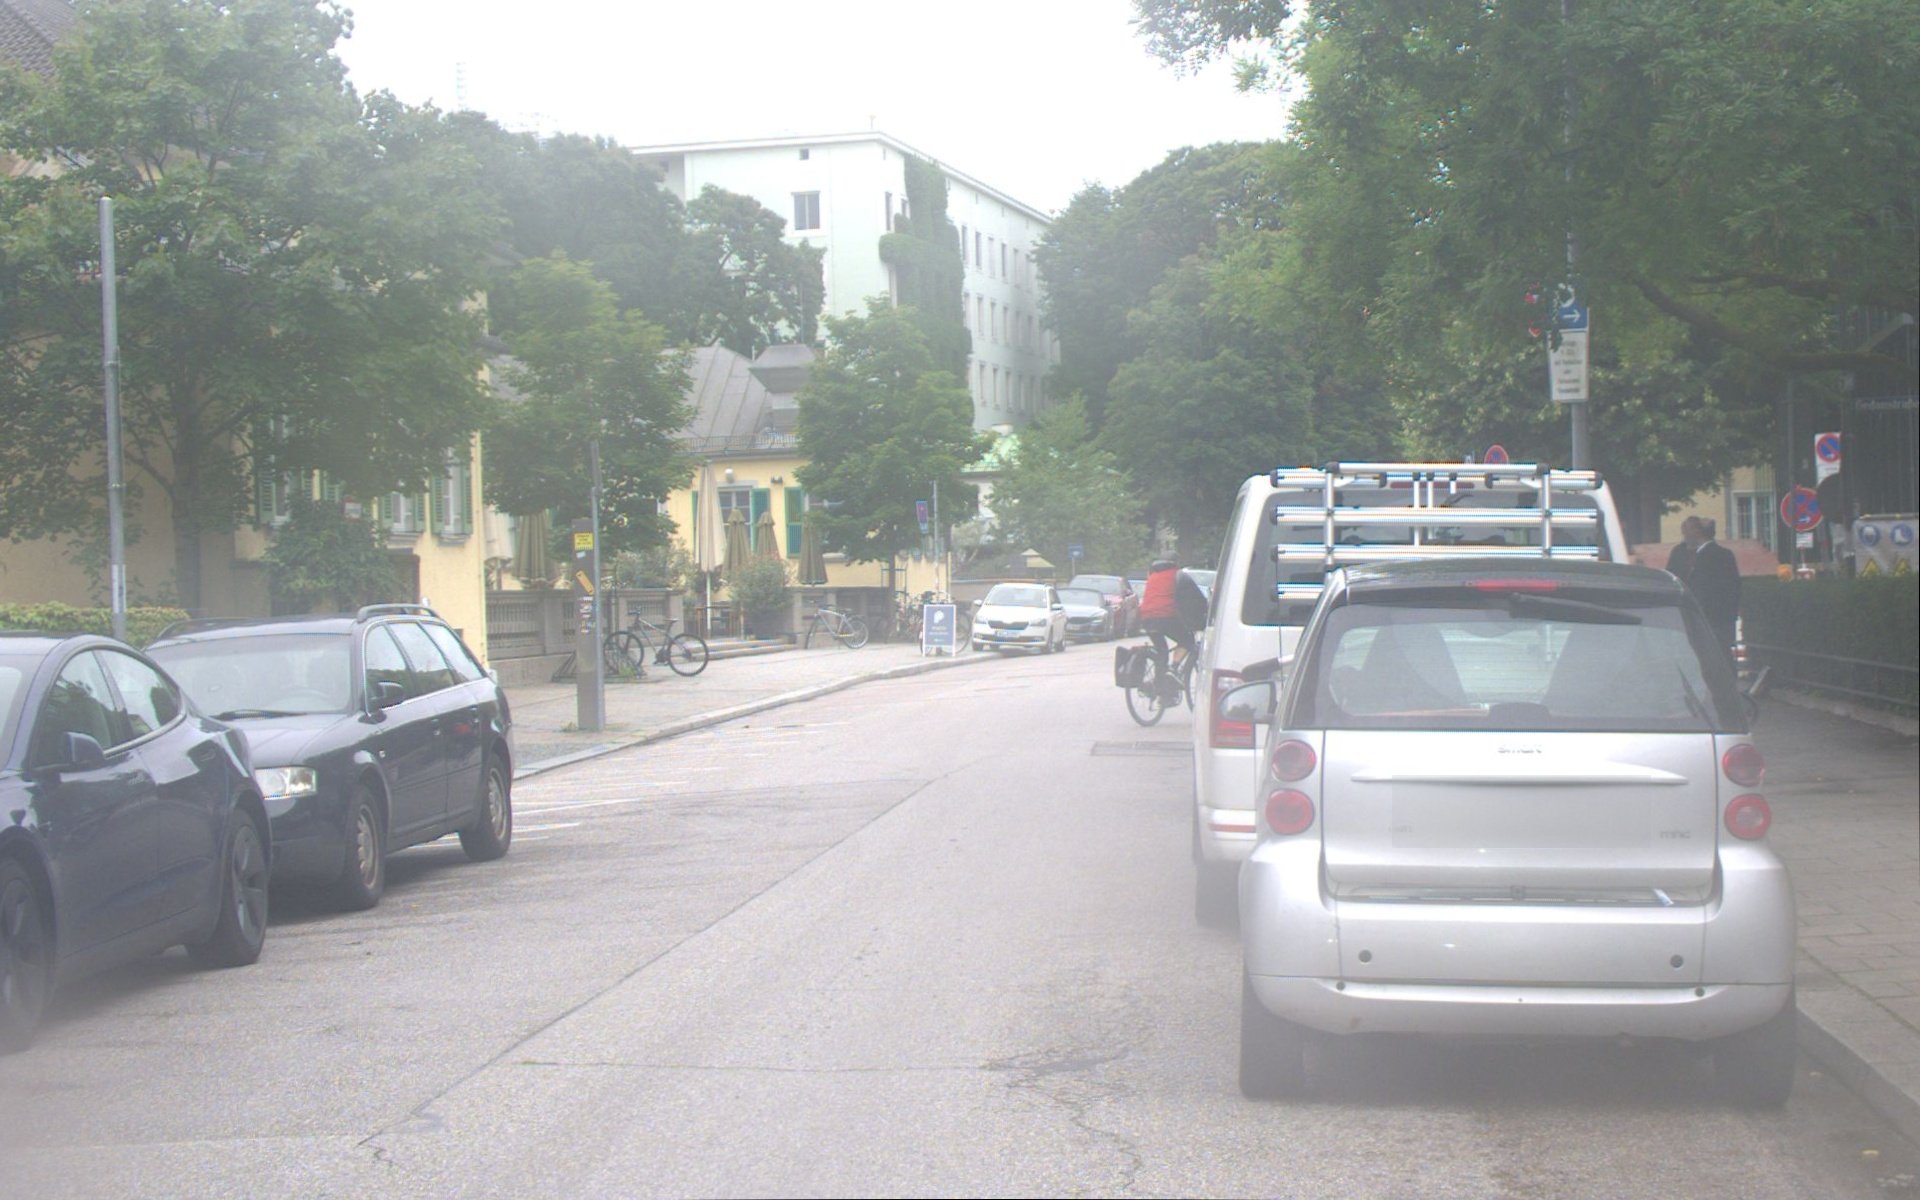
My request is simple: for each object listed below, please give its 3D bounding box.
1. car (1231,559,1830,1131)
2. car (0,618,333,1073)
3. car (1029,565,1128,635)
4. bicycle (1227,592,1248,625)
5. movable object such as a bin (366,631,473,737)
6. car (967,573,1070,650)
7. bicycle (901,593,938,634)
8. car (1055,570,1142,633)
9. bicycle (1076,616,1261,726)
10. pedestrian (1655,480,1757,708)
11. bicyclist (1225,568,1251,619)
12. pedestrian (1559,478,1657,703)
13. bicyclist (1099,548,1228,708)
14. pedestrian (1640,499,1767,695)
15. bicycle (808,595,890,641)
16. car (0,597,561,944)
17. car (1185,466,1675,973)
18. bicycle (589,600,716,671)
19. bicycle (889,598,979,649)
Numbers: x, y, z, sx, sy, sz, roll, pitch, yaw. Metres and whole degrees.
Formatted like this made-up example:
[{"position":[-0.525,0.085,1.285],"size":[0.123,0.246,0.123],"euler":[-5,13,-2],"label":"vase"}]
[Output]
[{"position":[1.683,0.648,10.851],"size":[1.606,1.541,2.933],"euler":[0,1,5],"label":"car"},{"position":[-3.960,0.856,13.049],"size":[1.923,1.434,4.917],"euler":[-4,0,3],"label":"car"},{"position":[3.020,-0.020,86.489],"size":[1.994,1.643,4.654],"euler":[-1,0,8],"label":"car"},{"position":[8.781,0.260,108.816],"size":[0.621,1.001,2.140],"euler":[-2,1,4],"label":"bicycle"},{"position":[-5.686,0.878,36.199],"size":[0.935,1.060,0.840],"euler":[-2,1,3],"label":"movable object such as a bin"},{"position":[1.279,0.230,74.013],"size":[1.734,1.576,3.786],"euler":[1,1,8],"label":"car"},{"position":[-1.009,0.345,86.016],"size":[0.622,1.001,1.618],"euler":[-1,-1,11],"label":"bicycle"},{"position":[3.704,0.061,91.533],"size":[1.994,1.597,3.999],"euler":[-1,0,6],"label":"car"},{"position":[2.025,0.676,33.110],"size":[0.623,1.001,2.135],"euler":[-3,-1,39],"label":"bicycle"},{"position":[7.164,-0.064,33.050],"size":[0.742,2.127,1.056],"euler":[-2,0,4],"label":"pedestrian"},{"position":[8.792,-0.203,108.877],"size":[0.743,1.570,0.977],"euler":[-2,0,3],"label":"bicyclist"},{"position":[6.309,-0.092,33.535],"size":[0.742,2.127,1.056],"euler":[-2,0,4],"label":"pedestrian"},{"position":[1.960,0.268,33.045],"size":[0.673,1.492,1.092],"euler":[-3,-2,40],"label":"bicyclist"},{"position":[7.408,-0.031,34.246],"size":[0.744,1.901,1.053],"euler":[-2,0,41],"label":"pedestrian"},{"position":[-2.400,0.388,74.253],"size":[1.613,0.922,0.651],"euler":[-1,-1,-19],"label":"bicycle"},{"position":[-3.677,0.799,18.306],"size":[1.994,1.486,4.882],"euler":[-3,0,6],"label":"car"},{"position":[1.993,0.432,15.943],"size":[1.845,1.926,5.272],"euler":[1,1,4],"label":"car"},{"position":[-4.928,0.565,55.130],"size":[1.931,1.095,0.614],"euler":[0,1,8],"label":"bicycle"},{"position":[-0.518,0.465,69.658],"size":[0.623,1.001,2.135],"euler":[2,1,38],"label":"bicycle"}]
